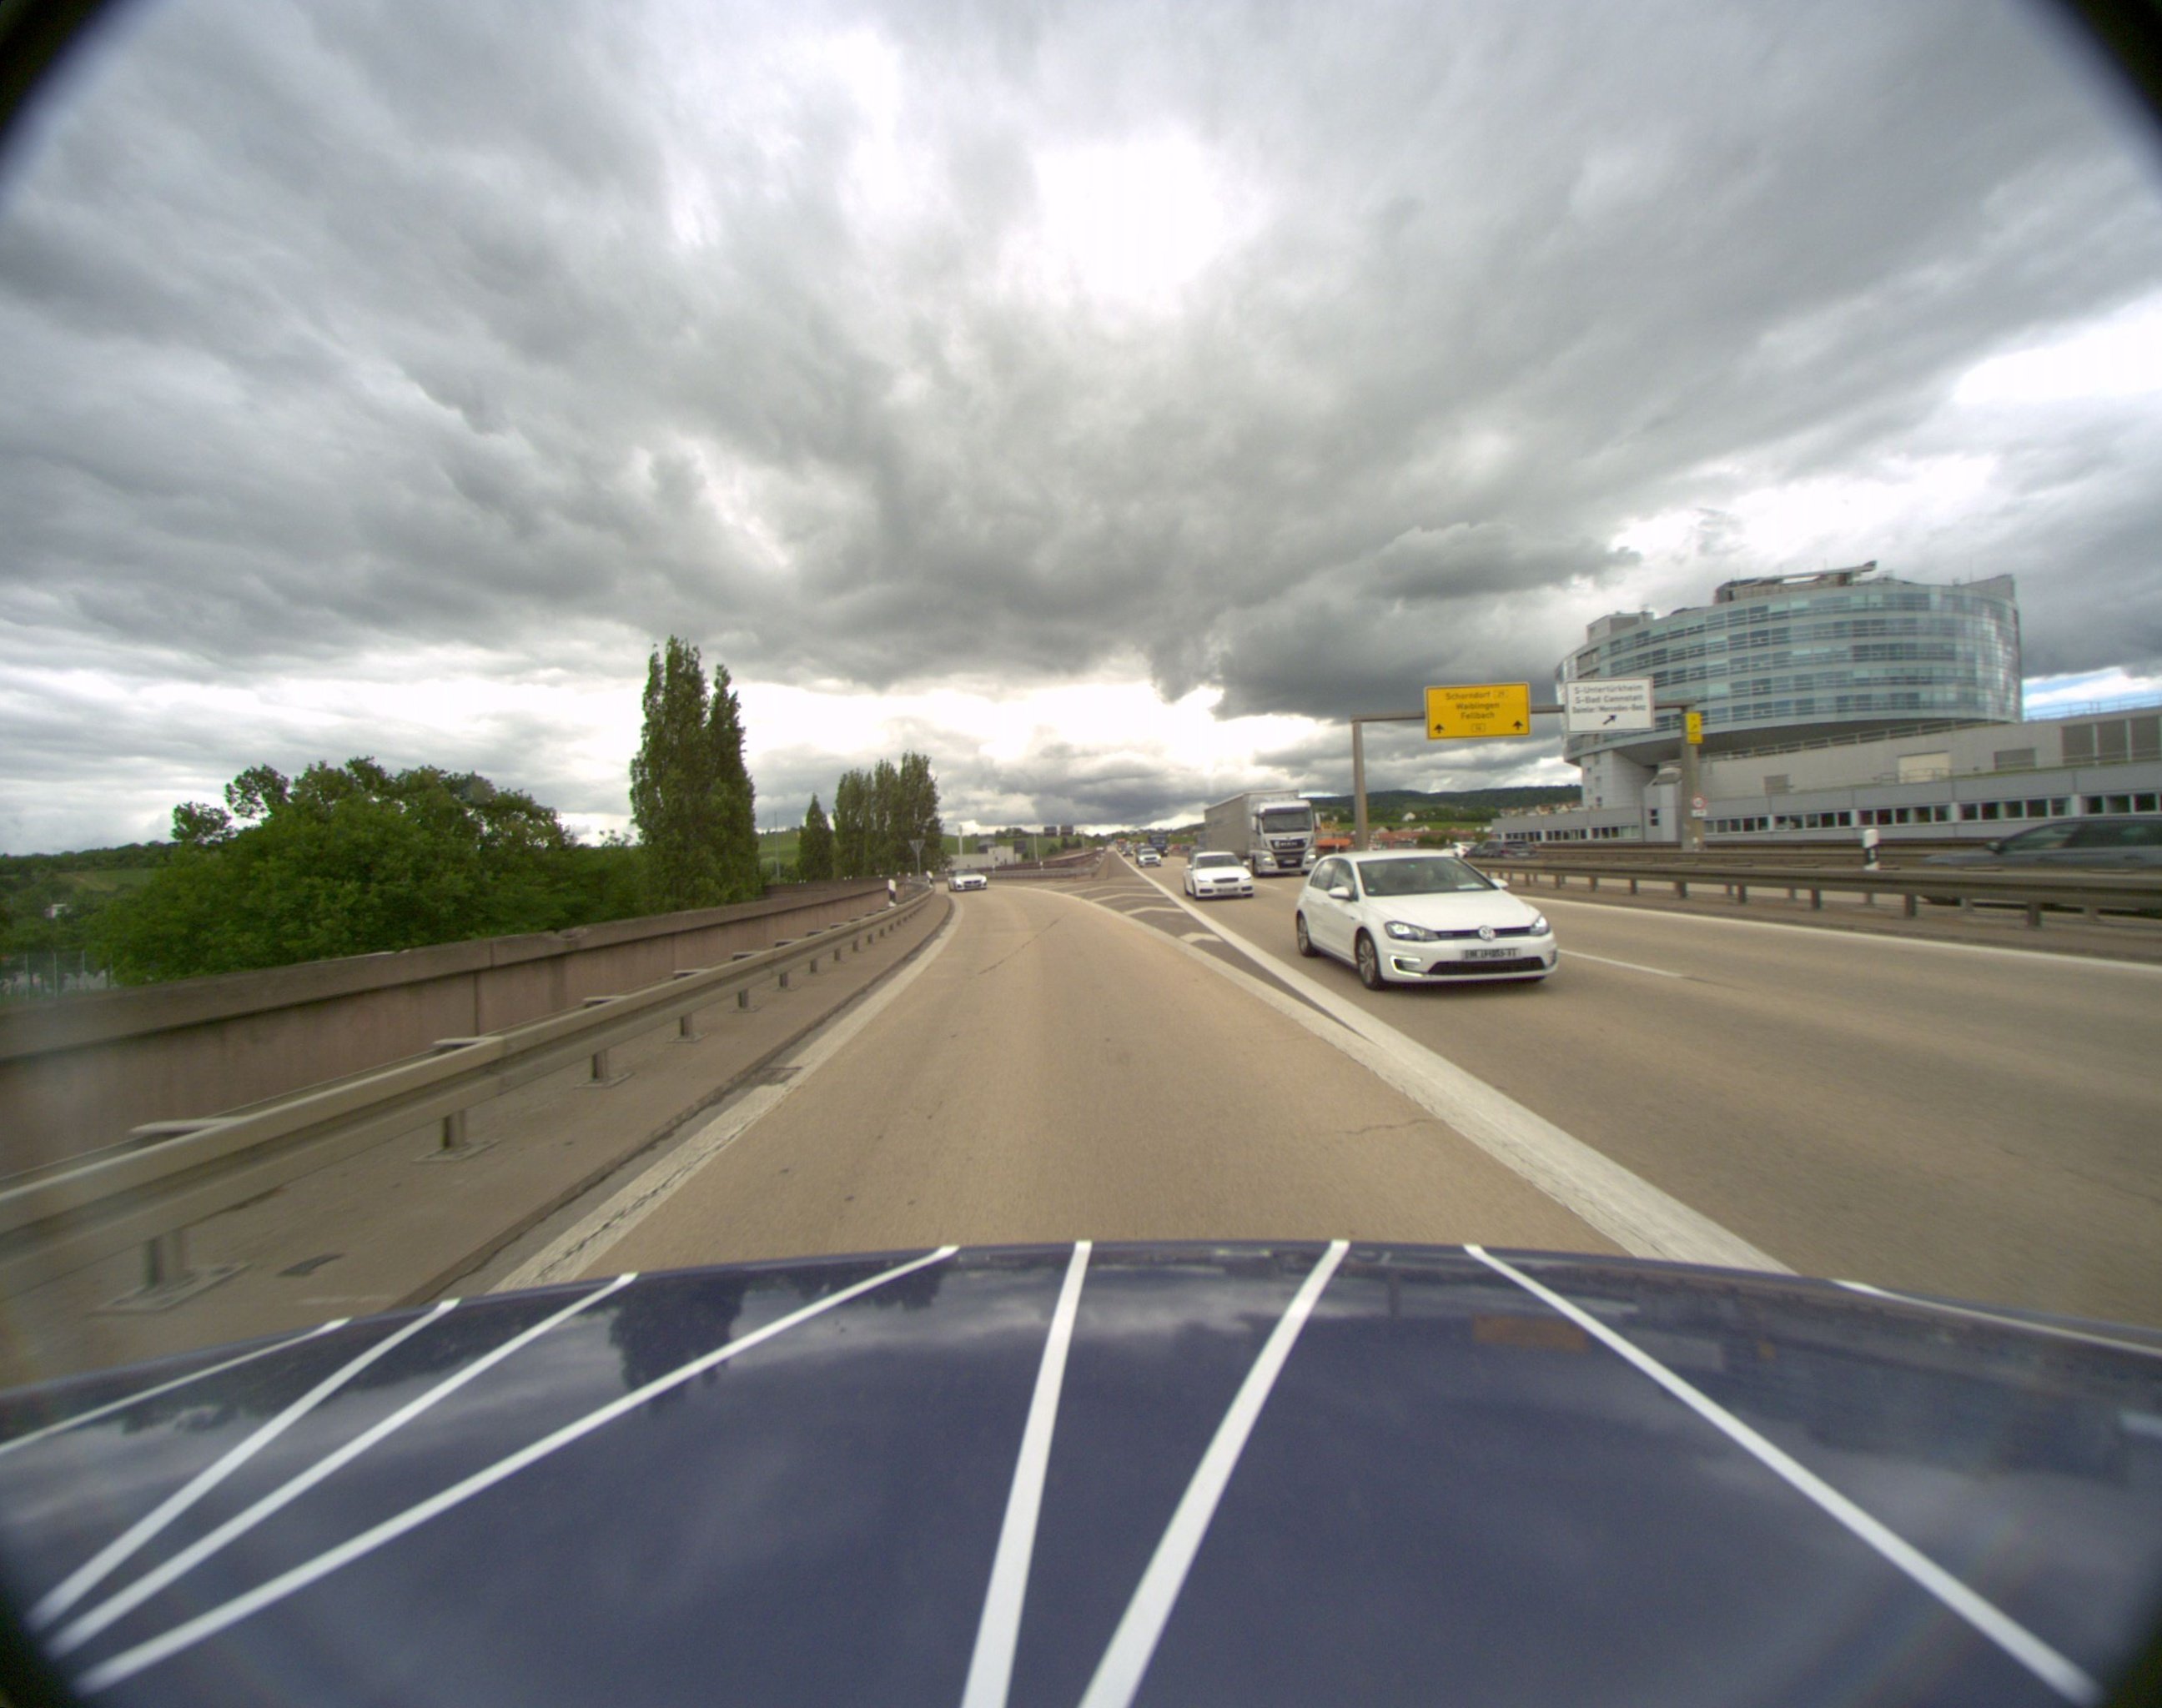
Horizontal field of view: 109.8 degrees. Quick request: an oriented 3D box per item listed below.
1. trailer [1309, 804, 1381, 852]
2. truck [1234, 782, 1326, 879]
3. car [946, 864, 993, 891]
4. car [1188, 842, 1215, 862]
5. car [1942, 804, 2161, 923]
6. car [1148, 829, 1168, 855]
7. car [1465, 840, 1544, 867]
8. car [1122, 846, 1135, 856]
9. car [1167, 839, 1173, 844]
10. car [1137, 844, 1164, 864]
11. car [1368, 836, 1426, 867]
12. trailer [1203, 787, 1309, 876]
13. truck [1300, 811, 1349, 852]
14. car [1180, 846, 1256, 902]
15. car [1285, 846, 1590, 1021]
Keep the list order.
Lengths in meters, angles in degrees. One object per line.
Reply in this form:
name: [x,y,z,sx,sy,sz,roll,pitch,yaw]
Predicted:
trailer: [21.608,-2.002,62.813,2.741,3.615,9.356,-1,0,1]
truck: [9.052,-1.048,35.091,2.863,3.988,4.791,-4,1,2]
car: [-6.789,1.379,45.768,1.865,1.337,4.817,-5,1,-18]
car: [10.398,-0.166,65.899,1.787,1.509,4.001,-5,0,3]
car: [15.086,0.118,10.768,1.648,1.576,3.719,-1,0,2]
car: [11.656,-1.750,115.270,2.363,3.639,4.800,-5,0,3]
car: [20.173,-0.011,36.392,1.646,1.228,4.282,-1,0,4]
car: [8.654,-0.536,137.431,1.997,1.672,4.002,-3,0,8]
car: [30.031,-4.227,256.798,1.687,1.509,3.651,-5,0,3]
car: [6.265,0.024,68.792,1.998,1.672,4.000,-3,0,1]
car: [16.455,-0.171,39.736,1.698,1.542,3.642,-1,1,4]
trailer: [9.260,-1.156,42.428,2.863,3.988,13.973,-4,1,2]
truck: [21.640,-1.896,67.691,2.748,3.459,5.106,-1,0,1]
car: [4.269,0.589,24.221,1.787,1.509,4.001,-4,0,3]
car: [3.750,0.716,8.859,1.713,1.488,4.000,-3,0,2]
